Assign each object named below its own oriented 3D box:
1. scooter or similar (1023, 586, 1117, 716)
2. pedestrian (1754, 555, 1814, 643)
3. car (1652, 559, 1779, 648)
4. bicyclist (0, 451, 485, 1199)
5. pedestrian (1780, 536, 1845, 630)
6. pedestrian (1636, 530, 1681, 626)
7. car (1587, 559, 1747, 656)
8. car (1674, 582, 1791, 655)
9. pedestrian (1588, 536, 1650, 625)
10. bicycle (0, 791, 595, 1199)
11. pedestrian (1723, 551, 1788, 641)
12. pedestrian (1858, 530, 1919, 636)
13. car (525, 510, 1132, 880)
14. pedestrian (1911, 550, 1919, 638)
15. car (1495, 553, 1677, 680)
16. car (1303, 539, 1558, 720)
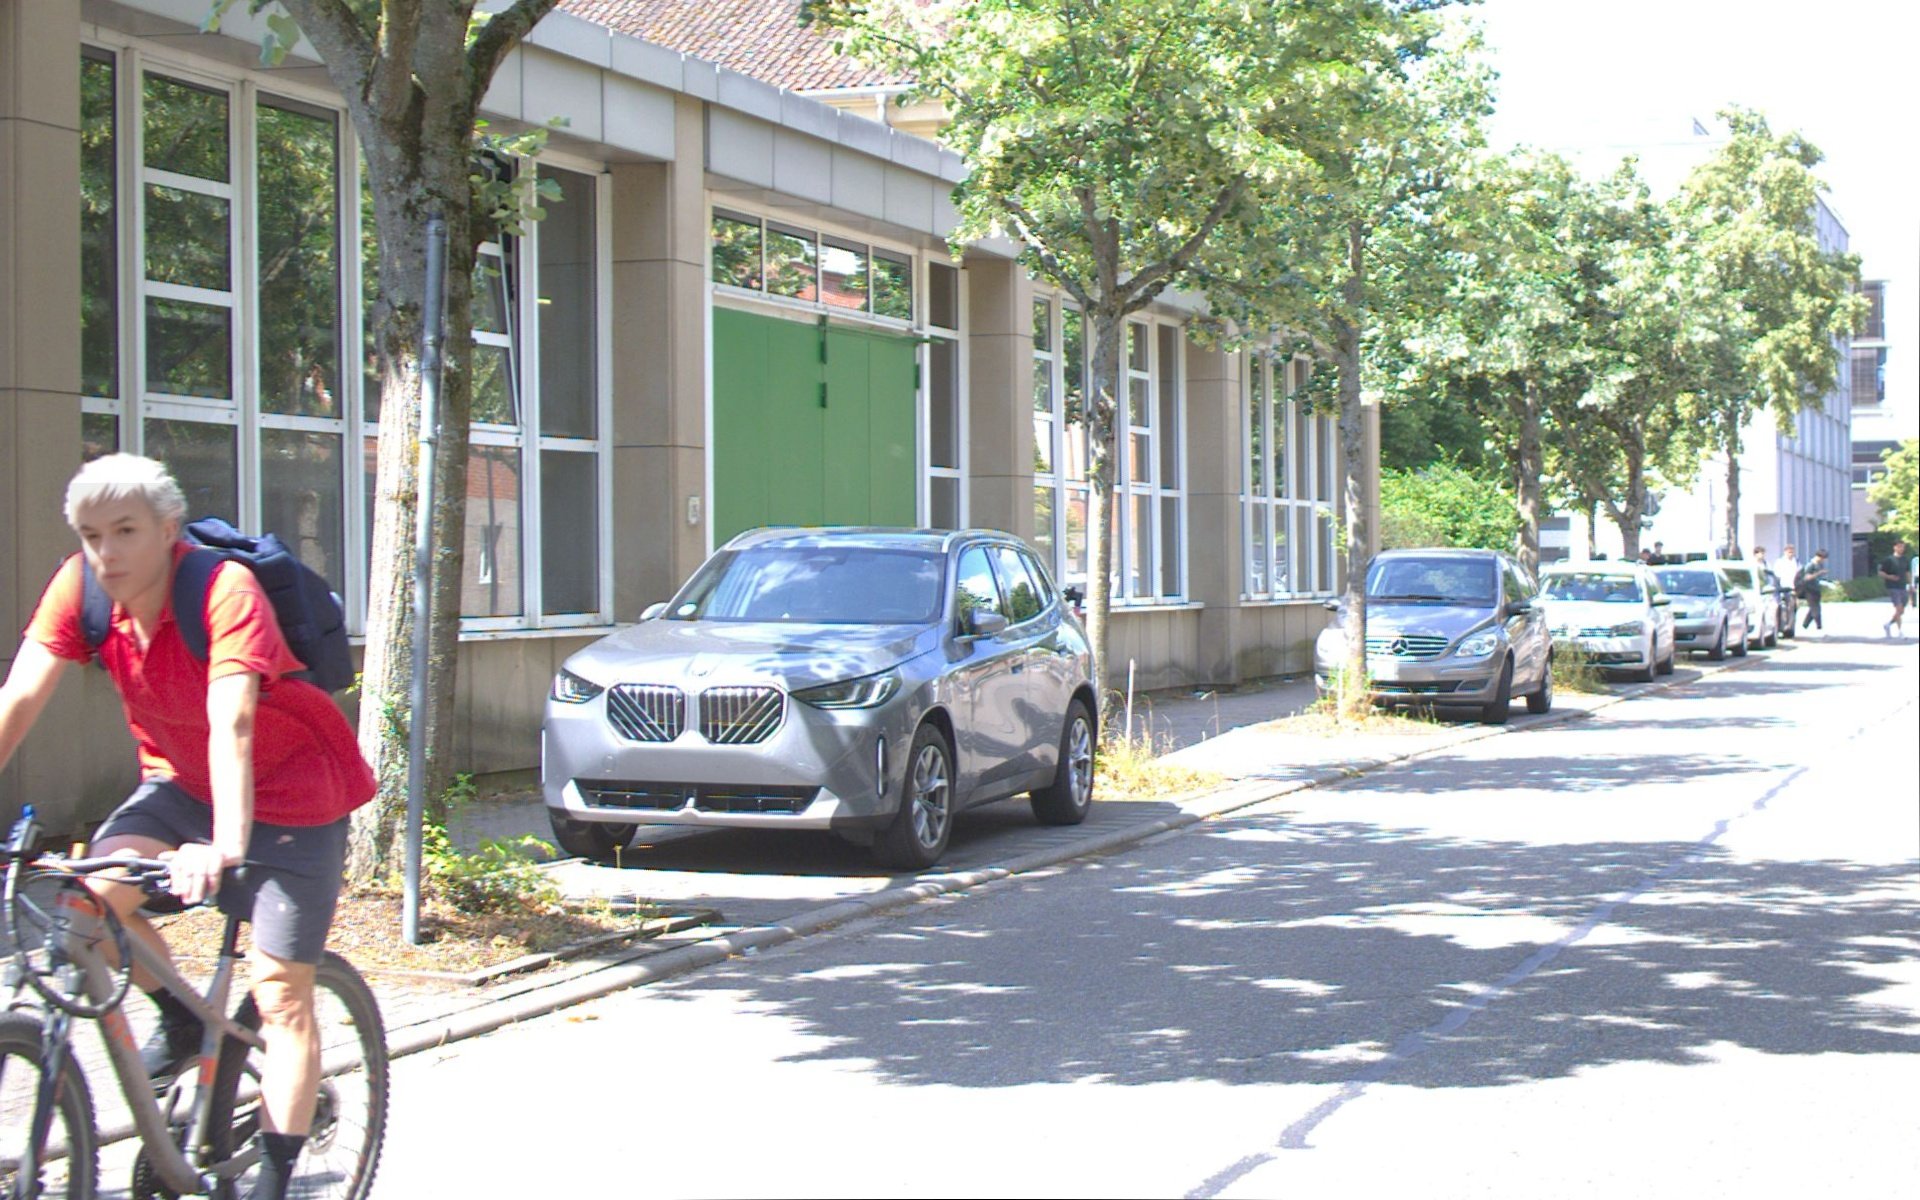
[{"bbox_3d":[1.027,0.464,31.903,0.506,1.165,1.214,2,1,19],"label":"scooter or similar"},{"bbox_3d":[16.391,-0.024,68.396,0.676,1.733,0.909,1,1,-34],"label":"pedestrian"},{"bbox_3d":[12.633,0.041,57.392,1.663,1.407,3.804,2,1,18],"label":"car"},{"bbox_3d":[-1.543,0.511,6.690,0.836,1.538,0.958,-1,-1,23],"label":"bicyclist"},{"bbox_3d":[16.219,-0.310,65.429,0.992,1.714,0.702,-1,-6,35],"label":"pedestrian"},{"bbox_3d":[14.590,-0.455,71.836,0.616,1.974,0.829,0,-1,-13],"label":"pedestrian"},{"bbox_3d":[10.628,0.090,51.483,1.727,1.339,4.161,2,1,20],"label":"car"},{"bbox_3d":[14.263,0.325,63.385,1.646,1.296,3.924,0,0,20],"label":"car"},{"bbox_3d":[13.615,-0.407,71.036,0.803,1.766,0.852,7,6,45],"label":"pedestrian"},{"bbox_3d":[-1.560,0.901,6.703,0.817,1.038,1.928,0,-3,23],"label":"bicycle"},{"bbox_3d":[15.730,-0.085,67.988,0.698,1.733,0.983,2,0,-35],"label":"pedestrian"},{"bbox_3d":[17.498,-0.325,64.343,0.851,1.853,1.117,-3,7,-19],"label":"pedestrian"},{"bbox_3d":[-0.521,0.424,18.048,1.823,1.627,4.513,2,1,16],"label":"car"},{"bbox_3d":[17.714,-0.118,61.792,0.847,1.590,0.830,-1,0,-24],"label":"pedestrian"},{"bbox_3d":[7.972,0.191,43.524,1.726,1.451,4.579,2,1,17],"label":"car"},{"bbox_3d":[4.559,0.258,32.849,1.759,1.551,4.110,2,1,17],"label":"car"}]
